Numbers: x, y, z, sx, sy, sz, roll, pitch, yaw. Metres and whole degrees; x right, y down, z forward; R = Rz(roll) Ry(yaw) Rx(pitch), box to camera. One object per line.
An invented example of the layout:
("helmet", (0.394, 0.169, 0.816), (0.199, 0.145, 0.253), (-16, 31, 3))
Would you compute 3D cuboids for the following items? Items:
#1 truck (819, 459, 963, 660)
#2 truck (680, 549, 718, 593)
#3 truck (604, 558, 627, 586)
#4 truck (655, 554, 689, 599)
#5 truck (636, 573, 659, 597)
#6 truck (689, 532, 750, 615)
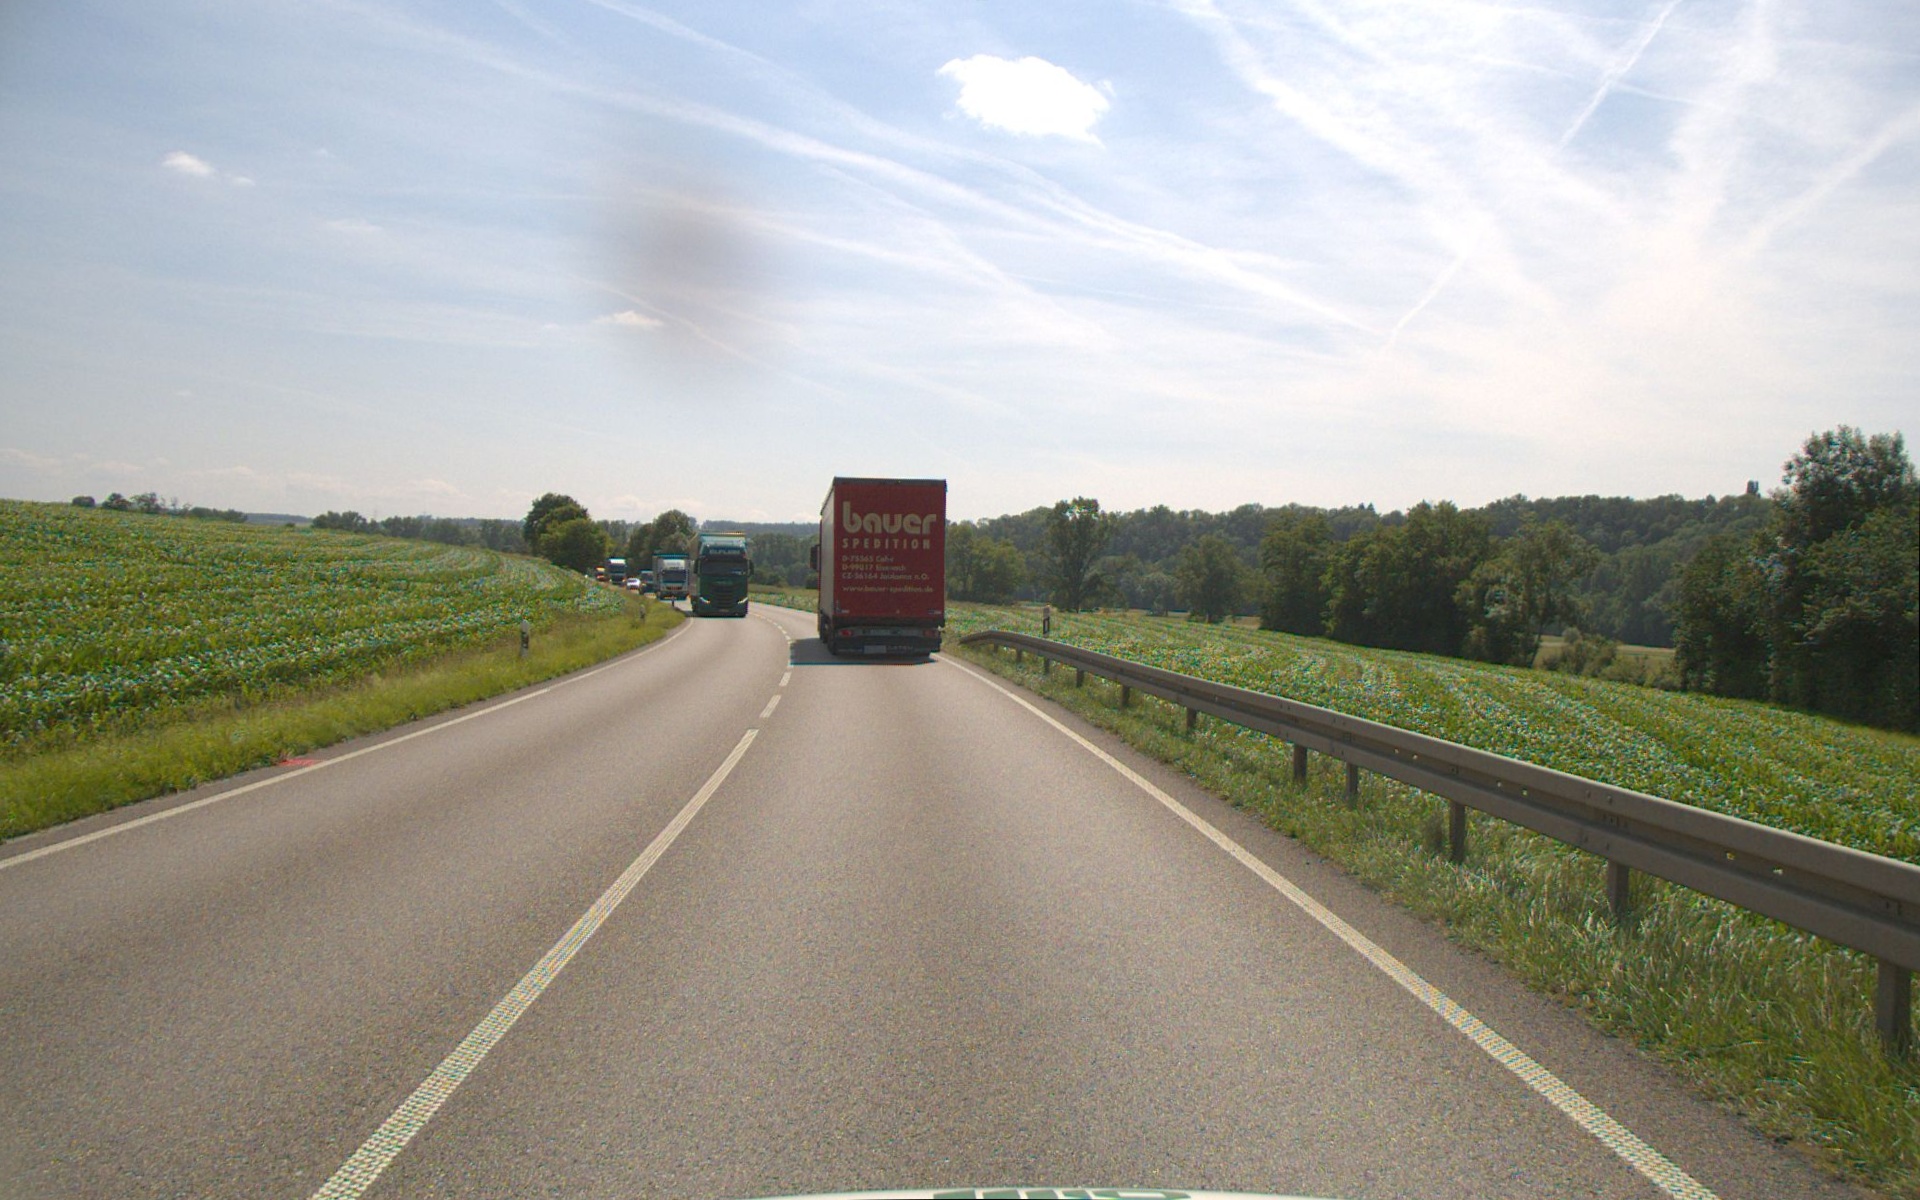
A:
("truck", (-1.846, -0.866, 39.995), (3.034, 4.337, 8.304), (0, 0, -5))
("truck", (-28.070, -3.013, 177.429), (3.575, 4.367, 11.952), (1, 0, -11))
("truck", (-51.943, -4.237, 249.251), (2.779, 4.062, 16.473), (0, 1, -14))
("truck", (-24.521, -1.963, 140.892), (2.691, 3.641, 9.703), (1, 0, -10))
("truck", (-31.703, -1.518, 167.690), (1.975, 2.360, 5.174), (1, 0, -13))
("truck", (-13.218, -1.398, 89.891), (2.720, 4.068, 16.987), (1, 0, -10))
